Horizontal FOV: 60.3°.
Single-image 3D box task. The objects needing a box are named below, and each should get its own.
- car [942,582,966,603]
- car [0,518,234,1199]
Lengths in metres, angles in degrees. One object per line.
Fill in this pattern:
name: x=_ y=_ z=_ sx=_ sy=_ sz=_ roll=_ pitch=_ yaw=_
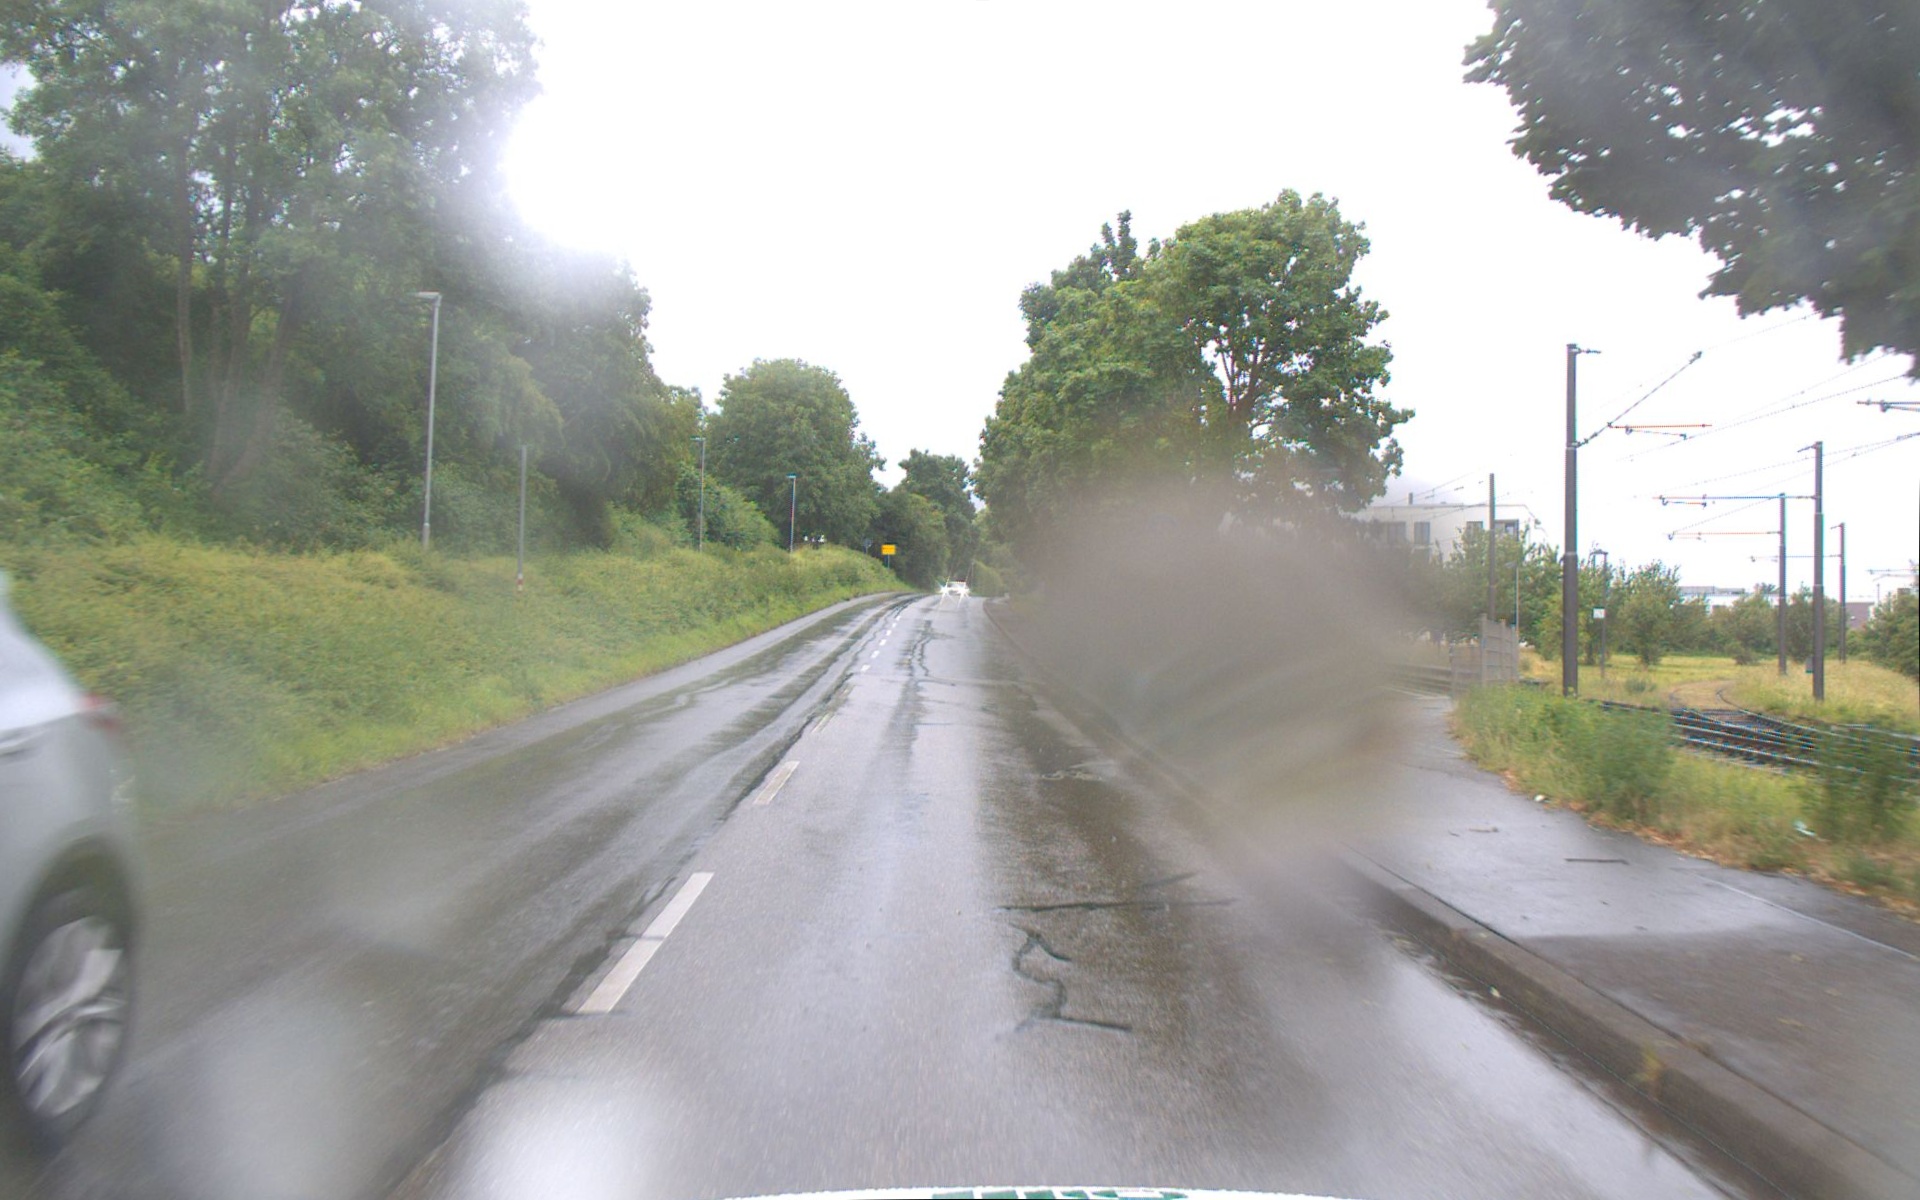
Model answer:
car: x=-0.461 y=-0.599 z=131.737 sx=1.623 sy=1.570 sz=4.089 roll=1 pitch=1 yaw=2
car: x=-3.087 y=0.618 z=3.116 sx=1.709 sy=1.640 sz=4.087 roll=1 pitch=1 yaw=-2
